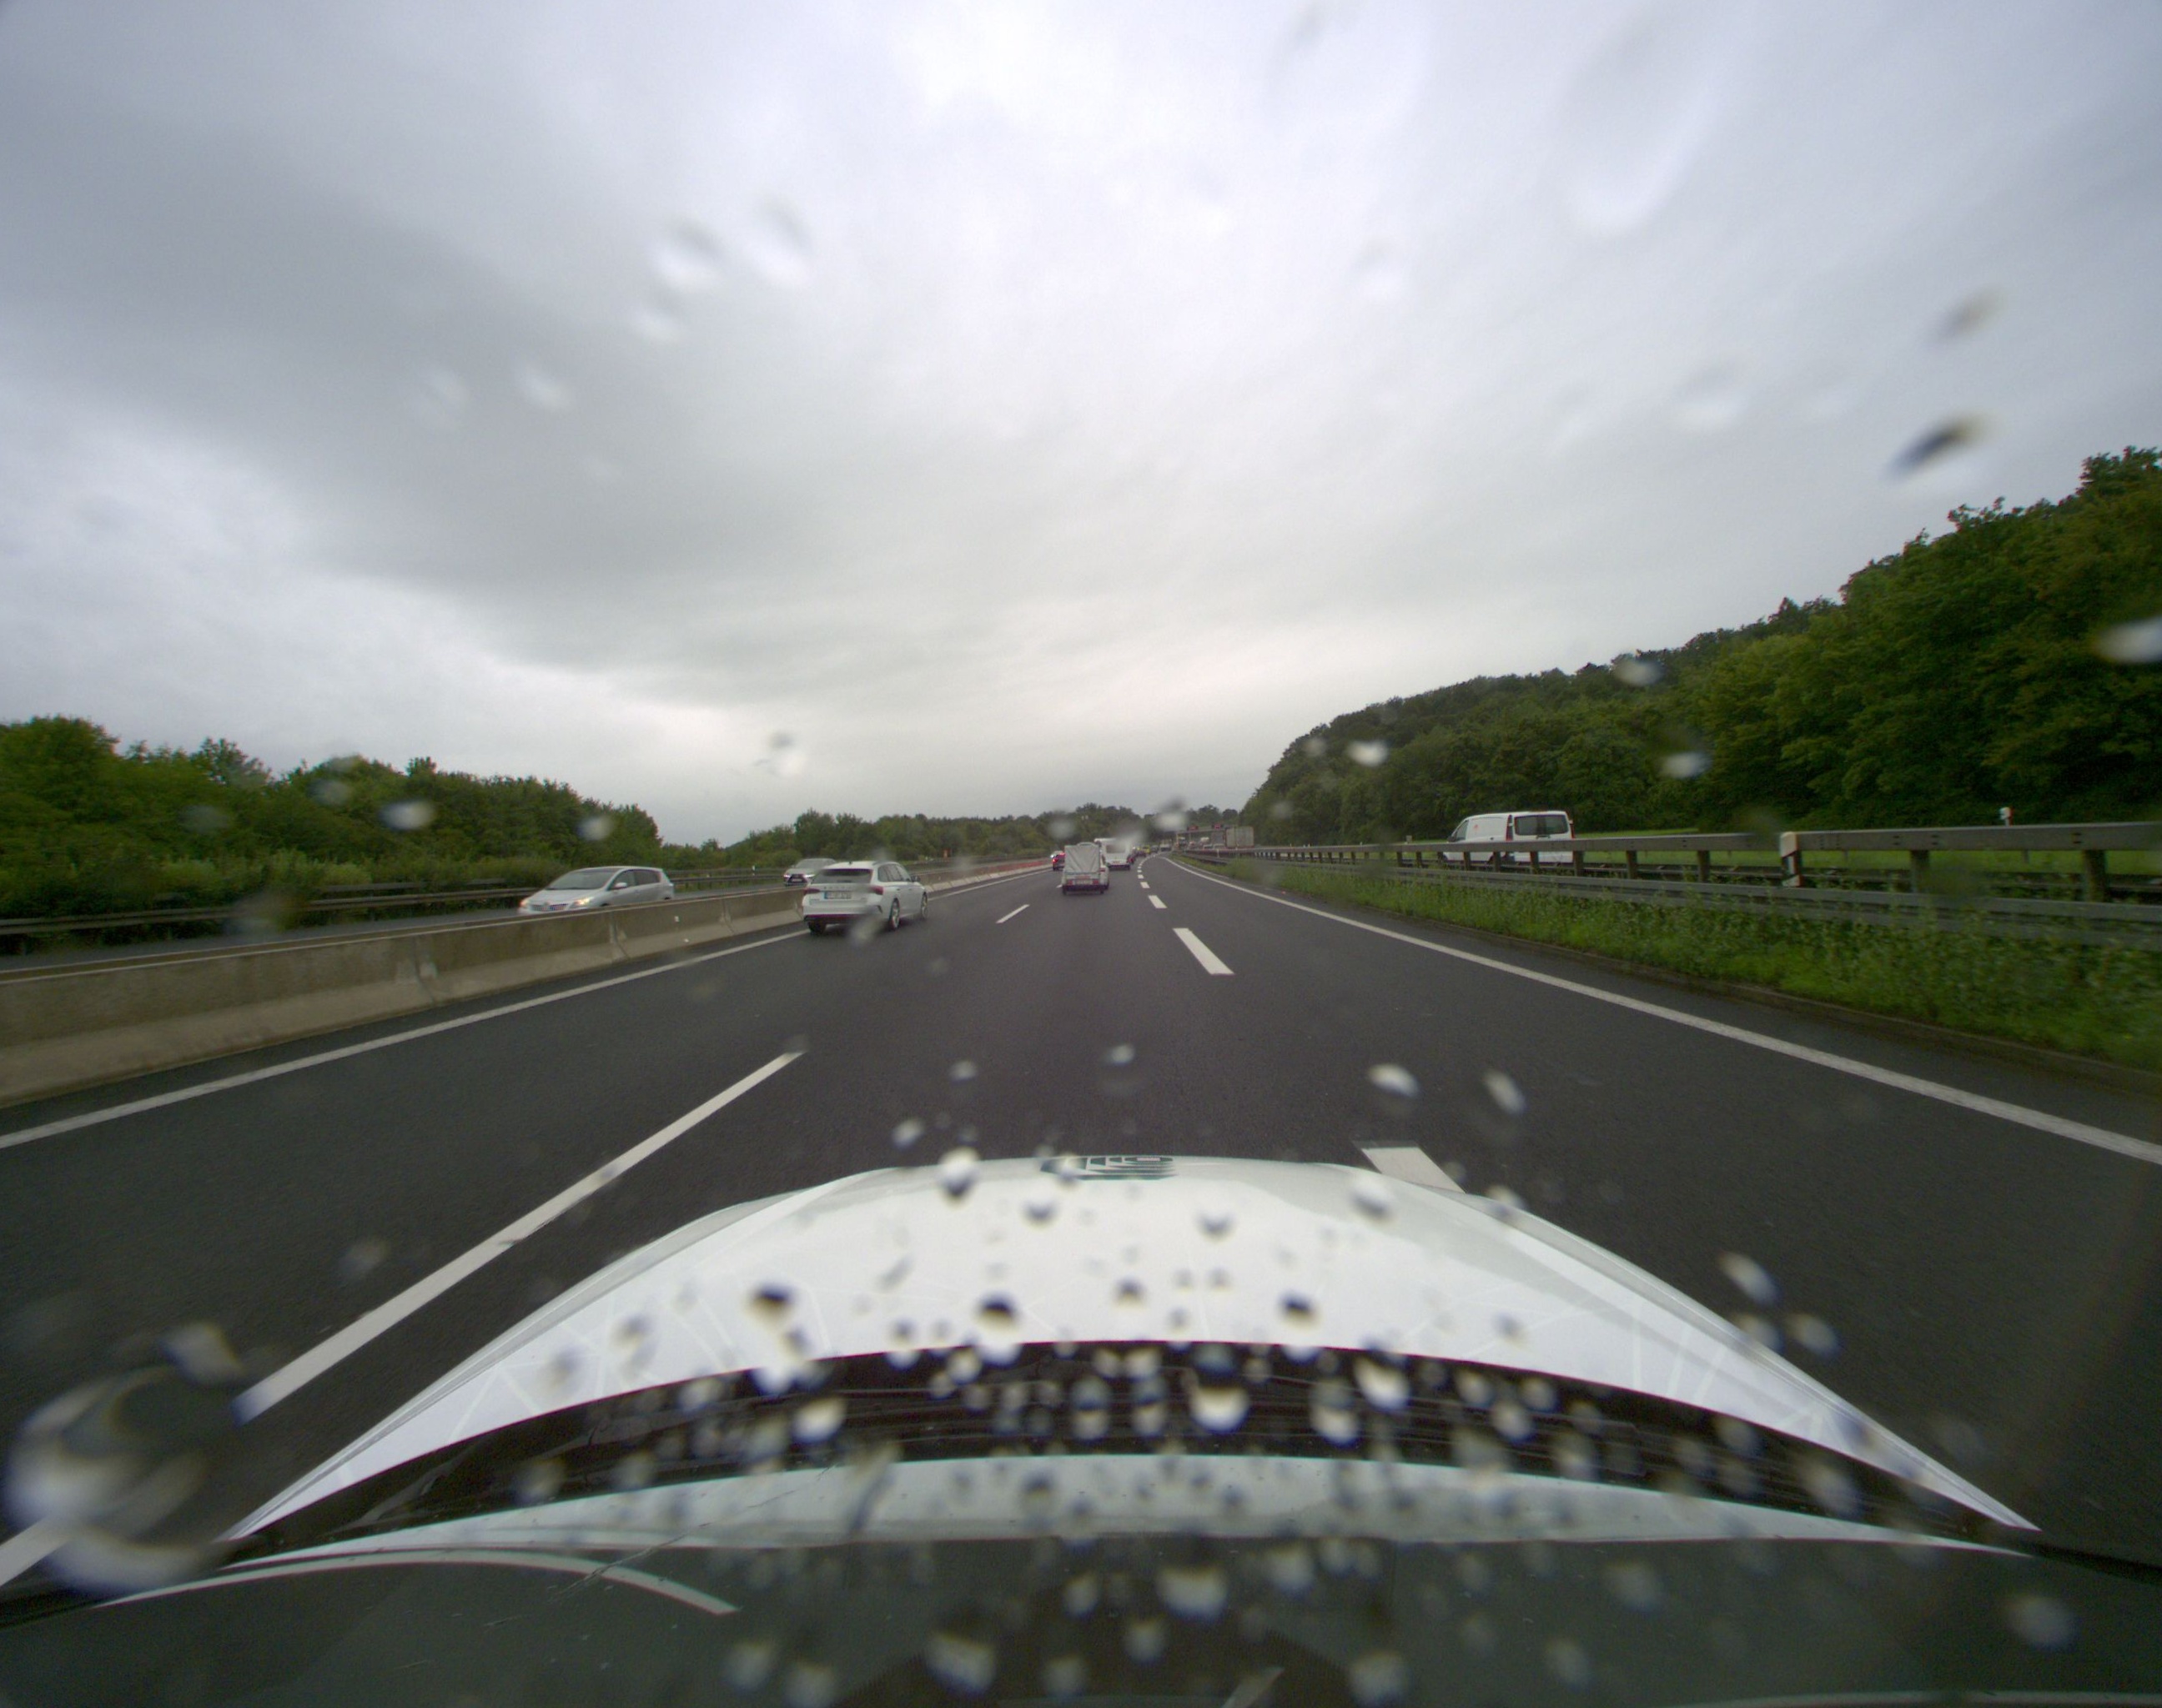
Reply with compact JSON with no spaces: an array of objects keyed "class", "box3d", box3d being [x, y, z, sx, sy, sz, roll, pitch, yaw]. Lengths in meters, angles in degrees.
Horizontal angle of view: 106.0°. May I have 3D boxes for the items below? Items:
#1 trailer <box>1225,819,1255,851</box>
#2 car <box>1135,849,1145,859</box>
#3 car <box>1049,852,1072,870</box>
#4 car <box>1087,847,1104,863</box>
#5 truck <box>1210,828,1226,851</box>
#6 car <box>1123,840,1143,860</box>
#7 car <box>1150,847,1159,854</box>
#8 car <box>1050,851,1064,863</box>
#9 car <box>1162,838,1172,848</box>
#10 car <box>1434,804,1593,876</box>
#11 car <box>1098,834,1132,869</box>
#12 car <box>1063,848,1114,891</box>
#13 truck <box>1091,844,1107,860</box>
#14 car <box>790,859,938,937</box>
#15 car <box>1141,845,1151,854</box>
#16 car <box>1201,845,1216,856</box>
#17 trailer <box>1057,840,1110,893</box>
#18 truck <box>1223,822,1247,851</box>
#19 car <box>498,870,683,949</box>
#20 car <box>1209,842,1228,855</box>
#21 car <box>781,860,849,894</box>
[{"class":"trailer","box3d":[21.247,-2.436,109.211,2.591,3.894,12.508,-2,0,5]},{"class":"car","box3d":[10.313,0.016,143.343,1.668,1.812,4.005,-2,0,4]},{"class":"car","box3d":[-1.708,0.568,69.186,1.669,1.456,4.002,-2,0,2]},{"class":"car","box3d":[1.889,0.099,102.706,1.986,1.918,4.002,-2,0,2]},{"class":"truck","box3d":[30.536,-3.084,181.361,3.196,4.666,13.068,-2,0,10]},{"class":"car","box3d":[5.742,-0.420,89.832,1.665,2.067,4.012,-2,0,11]},{"class":"car","box3d":[17.569,-0.838,193.948,2.028,1.683,4.006,-2,0,5]},{"class":"car","box3d":[-3.832,0.501,131.194,1.729,1.919,4.323,-2,0,6]},{"class":"car","box3d":[24.174,-3.161,229.336,2.502,2.574,5.324,-2,0,8]},{"class":"car","box3d":[11.711,-0.330,22.494,1.902,1.693,4.719,-2,0,1]},{"class":"car","box3d":[2.833,-0.194,66.135,2.497,2.585,5.705,-2,0,4]},{"class":"car","box3d":[0.397,0.613,34.494,1.810,1.616,4.783,-2,0,4]},{"class":"truck","box3d":[5.035,-0.489,221.622,2.772,4.092,12.325,-2,0,8]},{"class":"car","box3d":[-4.632,0.873,18.214,1.811,1.456,4.780,-2,0,2]},{"class":"car","box3d":[13.749,-0.953,171.994,1.666,1.812,4.009,-2,0,8]},{"class":"car","box3d":[19.703,-0.513,125.922,1.761,1.610,4.649,-2,0,5]},{"class":"trailer","box3d":[0.155,0.450,31.033,1.668,1.812,4.004,-2,0,4]},{"class":"truck","box3d":[21.778,-2.378,115.327,2.603,3.884,6.401,-2,0,5]},{"class":"car","box3d":[-12.410,1.322,21.001,1.986,1.711,4.305,-2,0,2]},{"class":"car","box3d":[16.126,-0.660,95.805,1.660,1.382,4.130,-4,0,4]},{"class":"car","box3d":[-14.093,1.194,43.457,1.884,1.650,4.605,-2,0,2]}]
